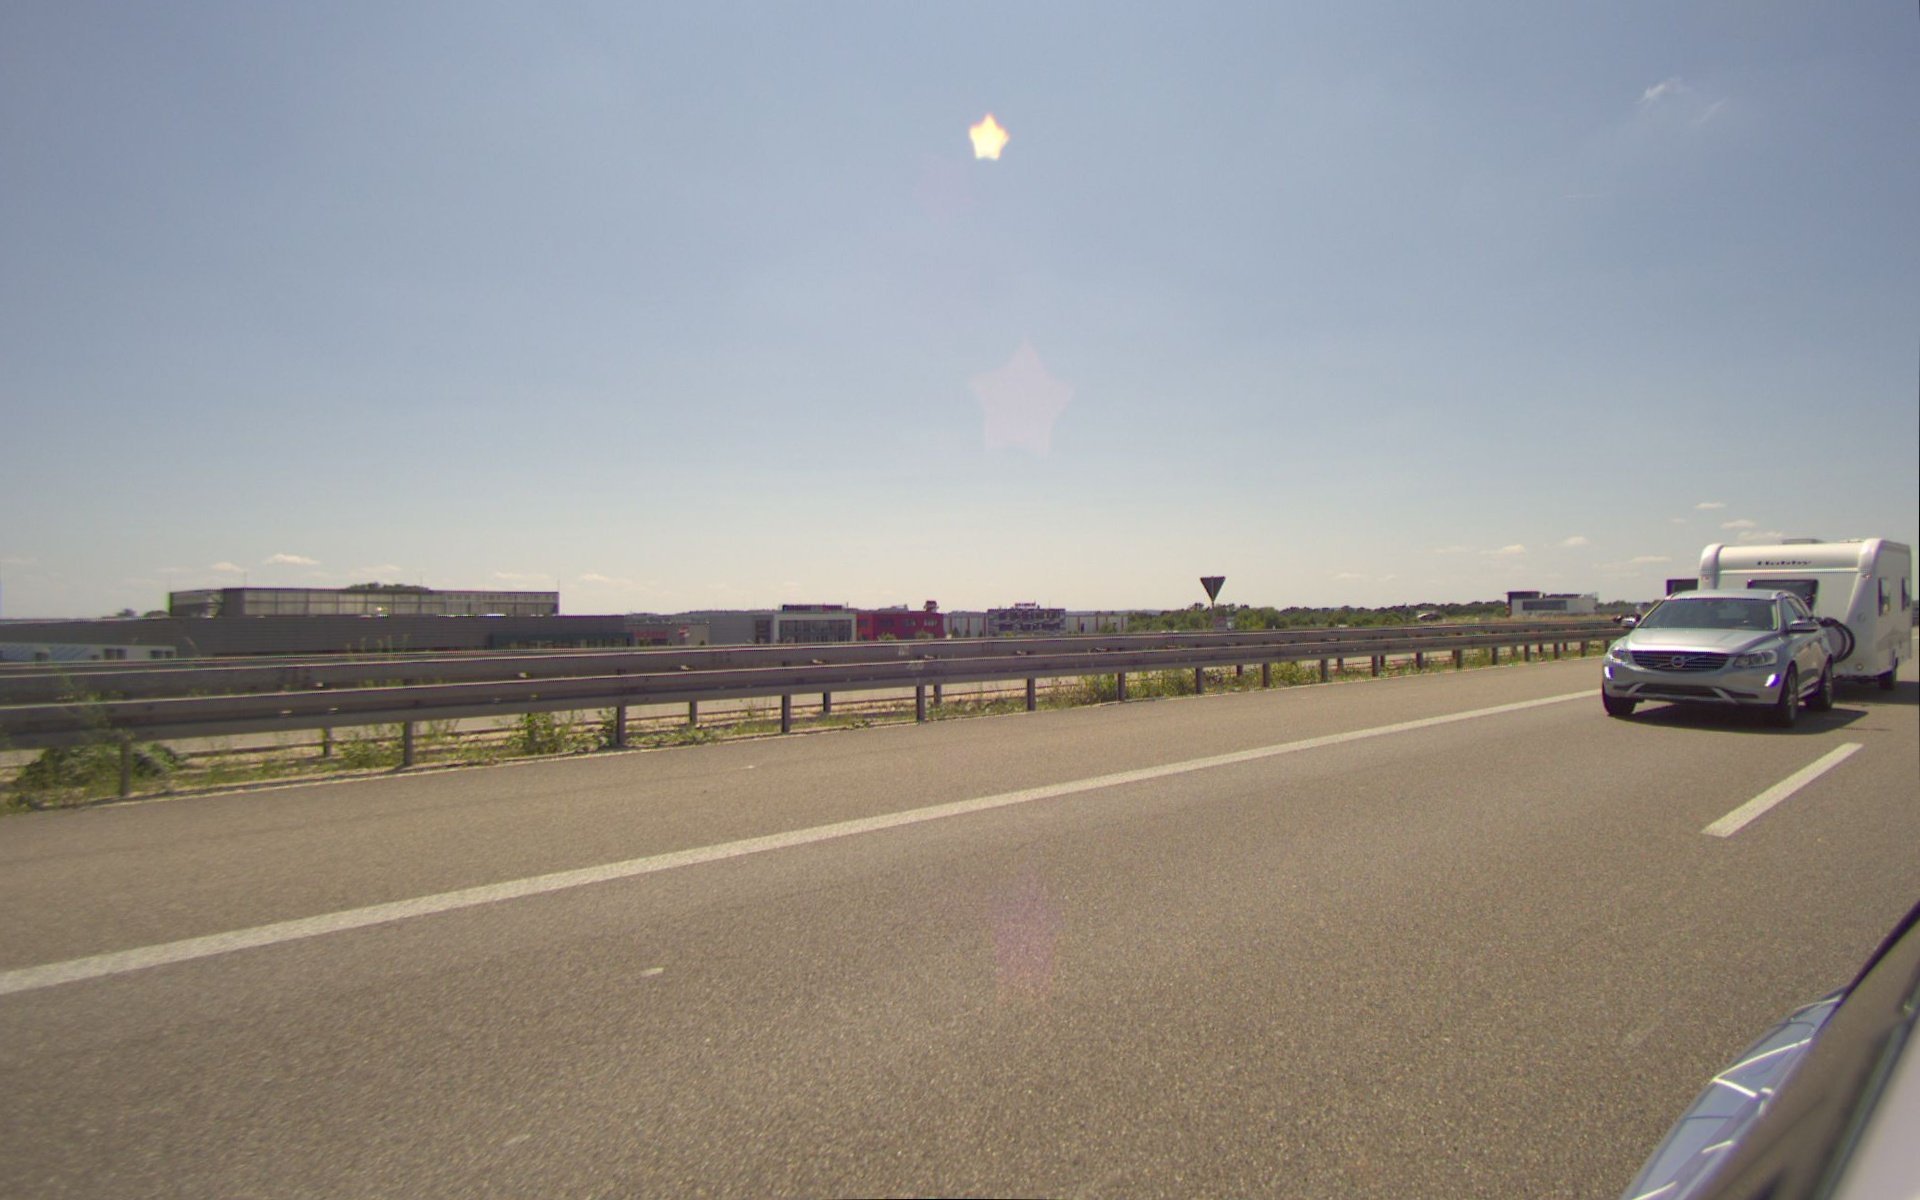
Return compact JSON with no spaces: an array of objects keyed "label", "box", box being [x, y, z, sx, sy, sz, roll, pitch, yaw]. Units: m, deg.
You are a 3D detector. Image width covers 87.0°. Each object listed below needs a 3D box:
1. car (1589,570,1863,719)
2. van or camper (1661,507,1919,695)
[{"label":"car","box":[10.284,0.506,13.443,4.816,1.643,1.884,1,0,-40]},{"label":"van or camper","box":[14.890,0.050,17.600,7.677,2.626,2.517,1,-1,-40]}]
